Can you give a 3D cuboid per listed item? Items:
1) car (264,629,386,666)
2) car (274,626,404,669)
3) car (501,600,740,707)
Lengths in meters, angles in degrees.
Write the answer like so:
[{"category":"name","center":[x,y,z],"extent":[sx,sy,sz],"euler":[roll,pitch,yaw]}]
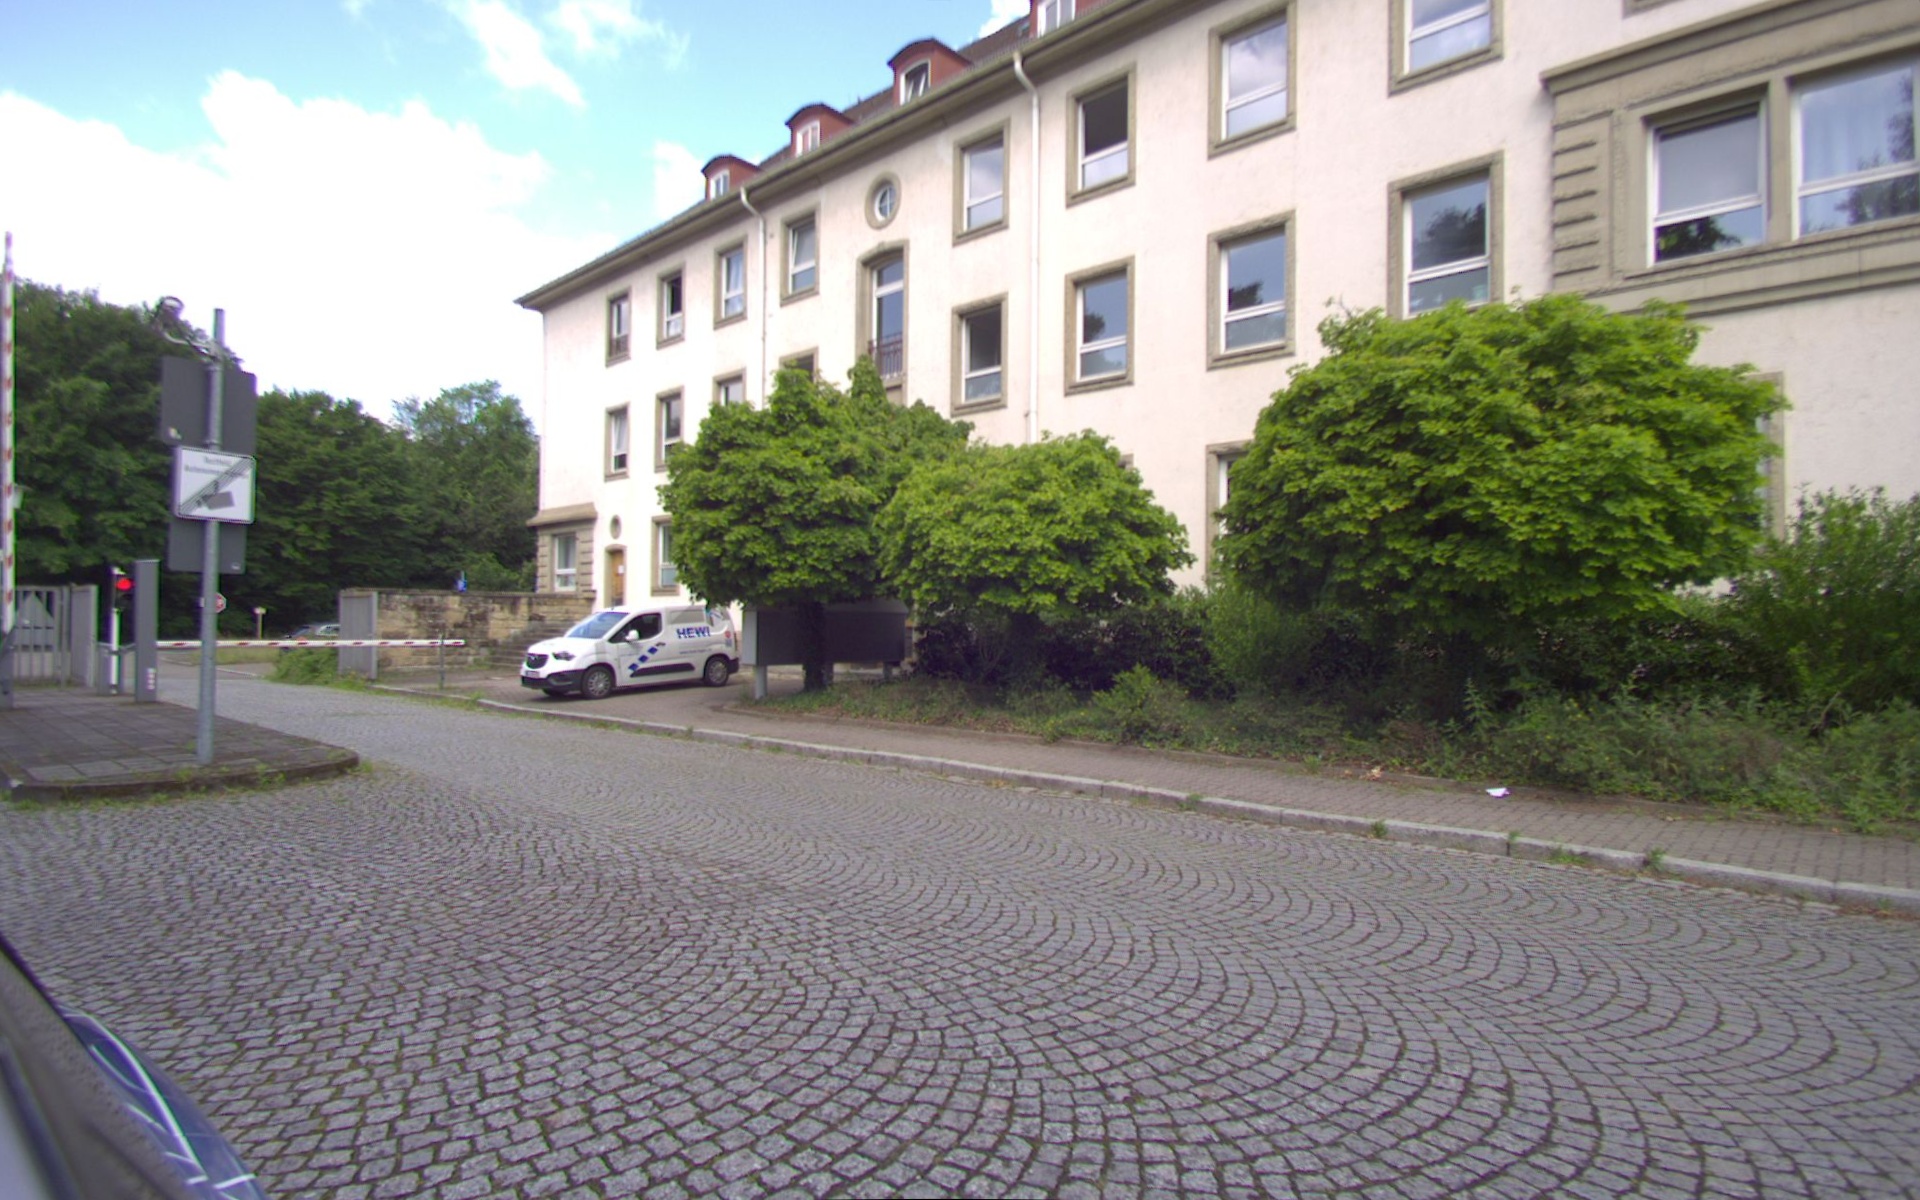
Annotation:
[{"category":"car","center":[-25.567,1.882,40.801],"extent":[3.938,1.356,1.804],"euler":[1,-2,-42]},{"category":"car","center":[-23.488,1.760,38.331],"extent":[3.938,1.529,1.804],"euler":[1,-2,-42]},{"category":"car","center":[-6.771,0.983,20.557],"extent":[1.819,1.819,4.258],"euler":[0,1,40]}]
